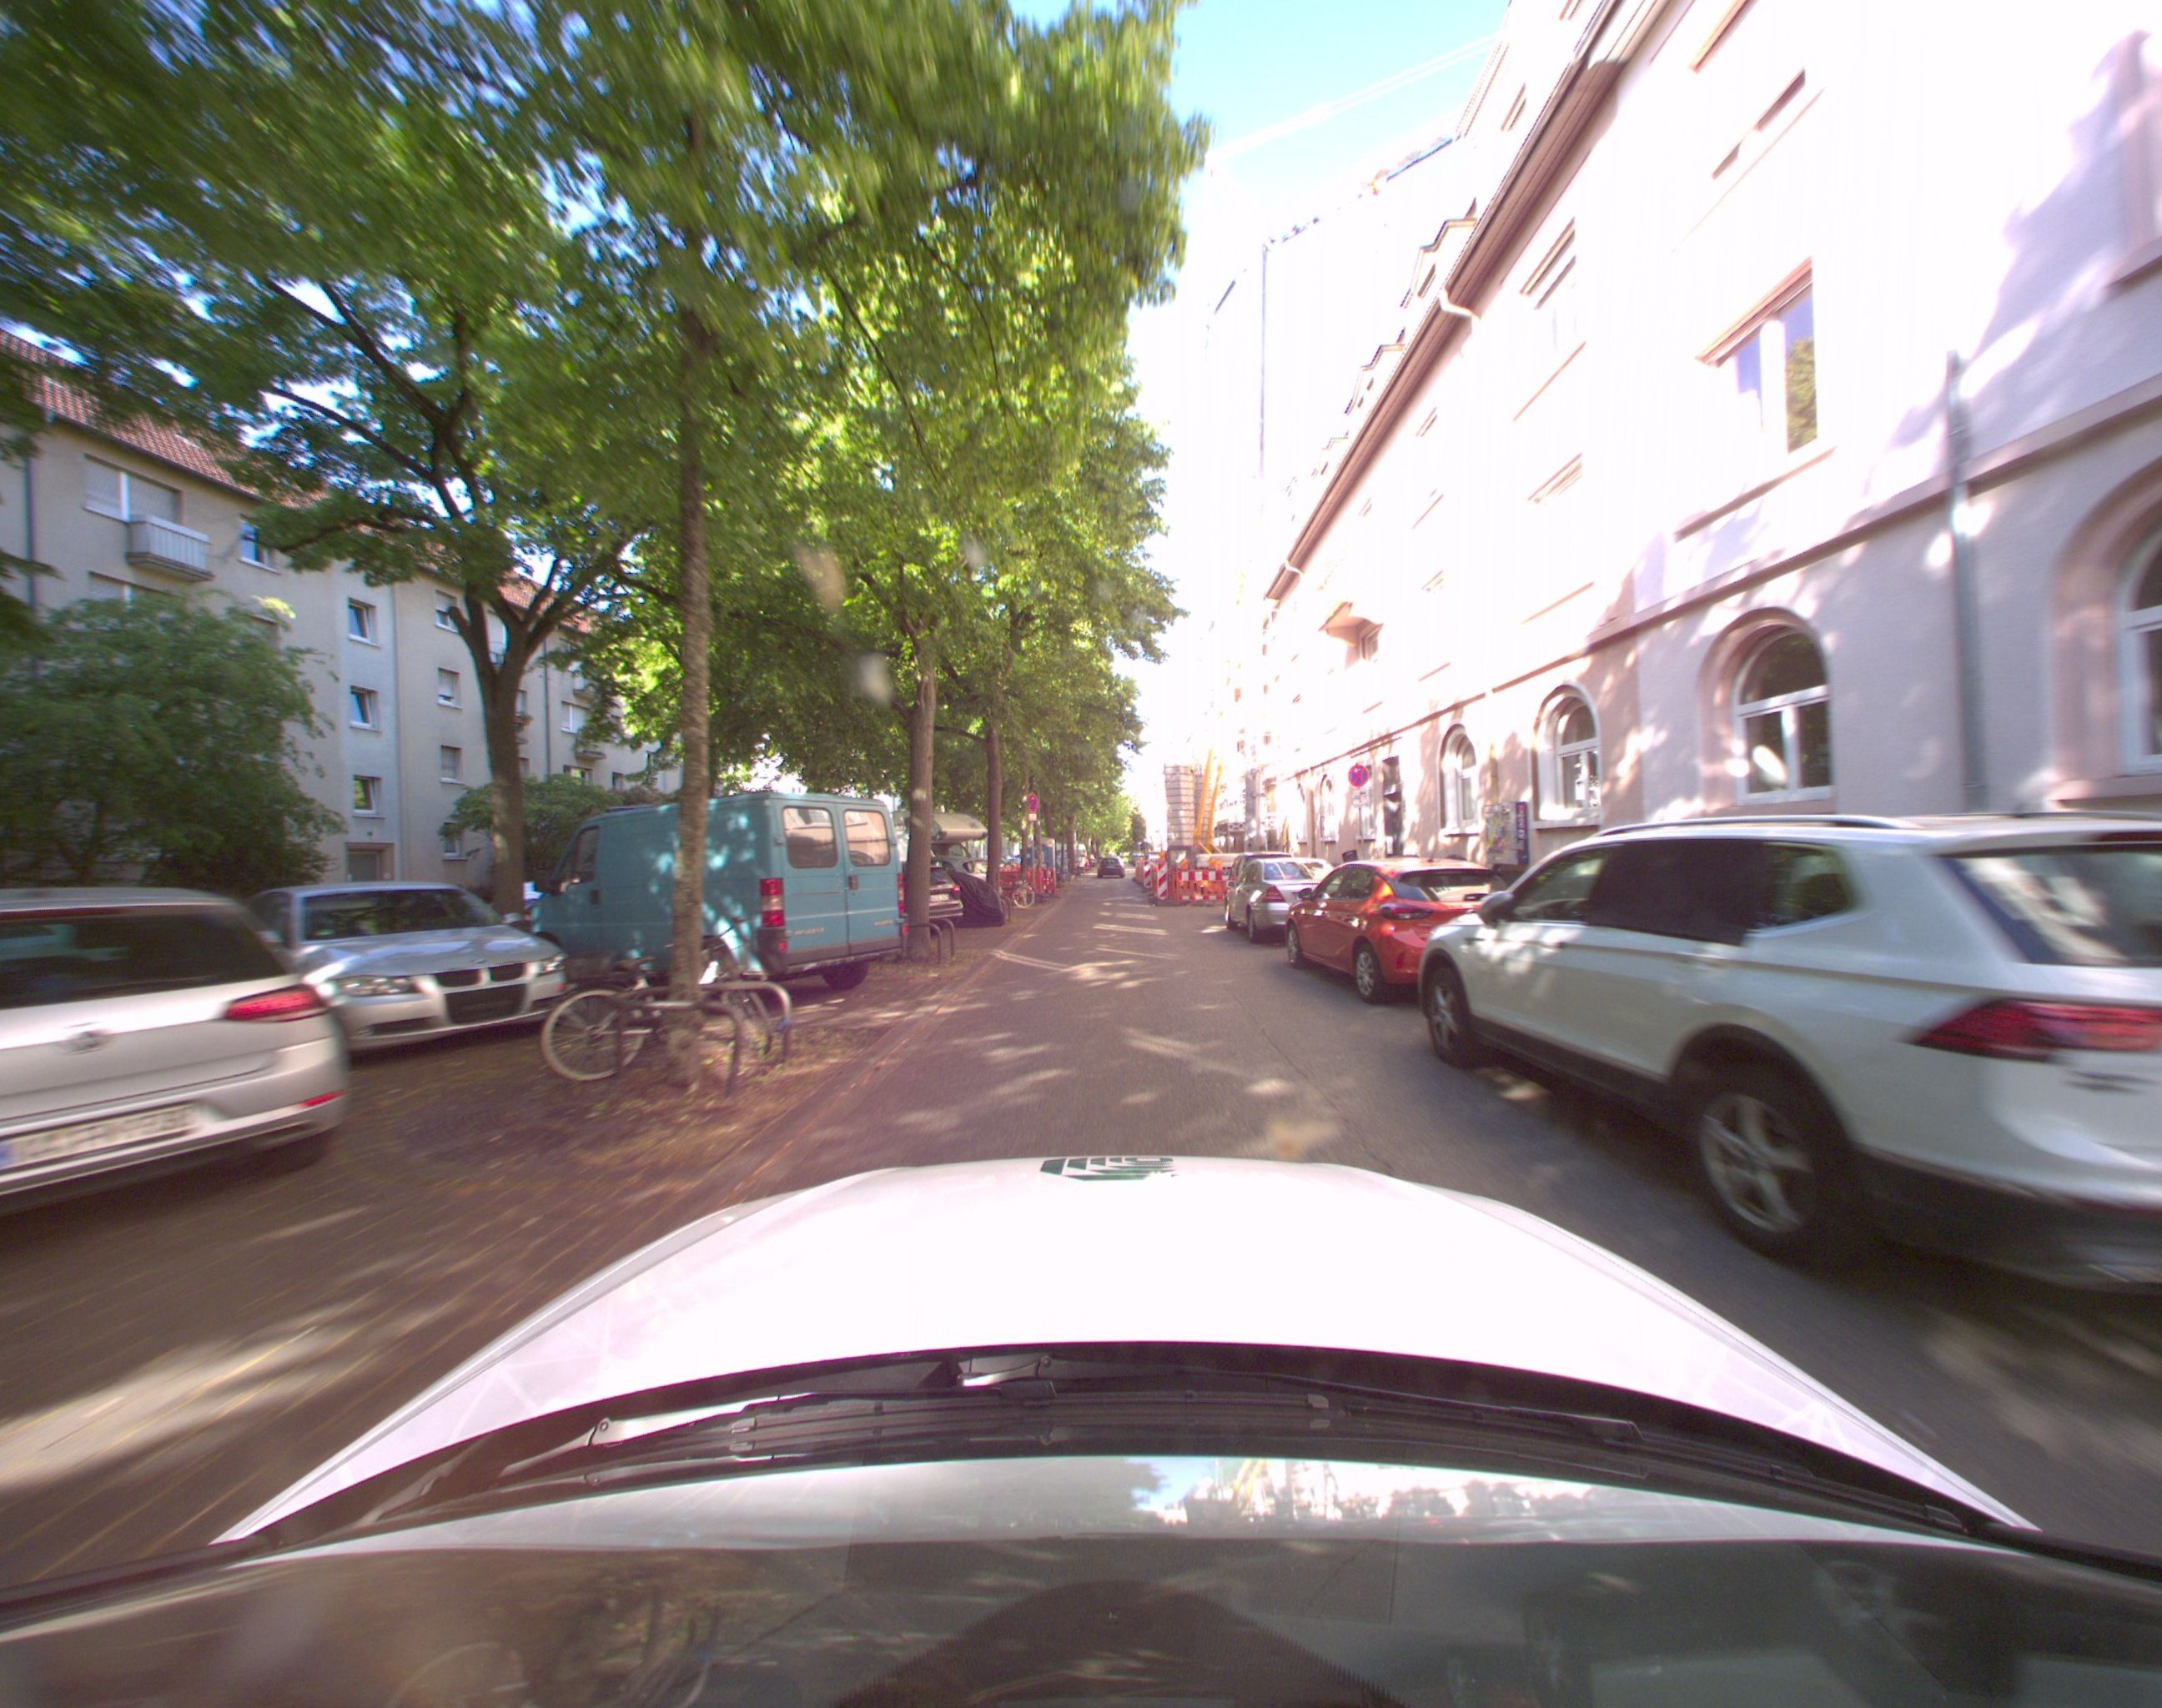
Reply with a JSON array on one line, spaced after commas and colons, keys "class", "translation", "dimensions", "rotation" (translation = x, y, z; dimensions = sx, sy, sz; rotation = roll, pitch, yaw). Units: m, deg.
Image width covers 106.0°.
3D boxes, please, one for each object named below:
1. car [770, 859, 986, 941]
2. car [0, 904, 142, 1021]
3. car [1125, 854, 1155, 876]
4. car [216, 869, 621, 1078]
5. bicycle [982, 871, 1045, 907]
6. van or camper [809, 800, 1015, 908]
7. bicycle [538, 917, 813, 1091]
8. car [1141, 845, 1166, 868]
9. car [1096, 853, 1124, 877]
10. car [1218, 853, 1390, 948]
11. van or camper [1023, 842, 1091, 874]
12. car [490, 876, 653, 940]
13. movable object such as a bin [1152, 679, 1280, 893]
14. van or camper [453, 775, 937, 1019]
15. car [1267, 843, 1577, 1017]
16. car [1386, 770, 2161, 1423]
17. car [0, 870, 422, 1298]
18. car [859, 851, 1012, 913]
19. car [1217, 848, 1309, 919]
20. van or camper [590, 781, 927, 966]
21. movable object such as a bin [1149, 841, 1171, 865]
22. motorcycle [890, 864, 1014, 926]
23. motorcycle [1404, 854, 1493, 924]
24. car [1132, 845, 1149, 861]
[{"class": "car", "translation": [-4.055, 0.886, 16.194], "dimensions": [3.915, 1.414, 1.834], "rotation": [-2, 0, 29]}, {"class": "car", "translation": [-14.963, 1.490, 10.002], "dimensions": [1.657, 1.424, 4.365], "rotation": [-2, 0, 2]}, {"class": "car", "translation": [3.980, 0.705, 55.637], "dimensions": [1.790, 1.385, 3.586], "rotation": [-3, 0, 1]}, {"class": "car", "translation": [-6.256, 0.921, 7.590], "dimensions": [3.947, 1.431, 1.732], "rotation": [-2, 0, 32]}, {"class": "bicycle", "translation": [-2.020, 1.054, 24.351], "dimensions": [1.879, 1.006, 0.433], "rotation": [-2, 0, 25]}, {"class": "van or camper", "translation": [-5.717, 0.075, 27.184], "dimensions": [6.592, 3.240, 2.511], "rotation": [-2, 0, 30]}, {"class": "bicycle", "translation": [-2.945, 1.045, 6.044], "dimensions": [1.729, 1.006, 0.507], "rotation": [-2, 0, -28]}, {"class": "car", "translation": [6.176, 0.221, 69.519], "dimensions": [1.790, 1.800, 3.586], "rotation": [-3, 0, 1]}, {"class": "car", "translation": [1.946, 0.741, 56.017], "dimensions": [1.790, 1.503, 3.586], "rotation": [-3, 0, 1]}, {"class": "car", "translation": [3.861, 0.725, 14.938], "dimensions": [1.986, 1.409, 4.502], "rotation": [-1, 0, 1]}, {"class": "van or camper", "translation": [-2.051, 0.370, 68.791], "dimensions": [5.280, 2.474, 2.309], "rotation": [-2, 0, 34]}, {"class": "car", "translation": [-13.956, 1.423, 22.614], "dimensions": [1.809, 1.455, 3.970], "rotation": [-2, 0, 4]}, {"class": "movable object such as a bin", "translation": [4.601, -2.136, 27.726], "dimensions": [3.445, 6.759, 2.383], "rotation": [-2, 0, 34]}, {"class": "van or camper", "translation": [-4.689, 0.480, 9.781], "dimensions": [5.447, 2.275, 2.234], "rotation": [-2, 0, 26]}, {"class": "car", "translation": [3.590, 0.689, 9.457], "dimensions": [1.786, 1.523, 3.960], "rotation": [-2, 0, -2]}, {"class": "car", "translation": [3.370, 0.594, 4.423], "dimensions": [1.809, 1.674, 4.676], "rotation": [-2, 0, 2]}, {"class": "car", "translation": [-5.330, 0.875, 4.062], "dimensions": [3.905, 1.443, 1.858], "rotation": [-2, 0, 30]}, {"class": "car", "translation": [-4.135, 0.801, 23.167], "dimensions": [3.916, 1.629, 1.834], "rotation": [-2, 0, 27]}, {"class": "car", "translation": [4.257, 0.650, 19.363], "dimensions": [1.586, 1.530, 2.781], "rotation": [-2, 0, 1]}, {"class": "van or camper", "translation": [-5.685, 0.356, 14.064], "dimensions": [5.811, 2.637, 2.269], "rotation": [-2, 0, 31]}, {"class": "movable object such as a bin", "translation": [7.959, -0.086, 82.092], "dimensions": [1.790, 2.233, 4.607], "rotation": [-3, 0, 1]}, {"class": "motorcycle", "translation": [-2.825, 0.893, 17.879], "dimensions": [2.534, 1.258, 0.765], "rotation": [-2, 0, 10]}, {"class": "motorcycle", "translation": [6.830, 0.619, 15.234], "dimensions": [0.547, 1.193, 1.831], "rotation": [-2, 0, -9]}, {"class": "car", "translation": [6.965, -0.090, 95.847], "dimensions": [1.790, 1.800, 3.586], "rotation": [-3, 0, 1]}]
